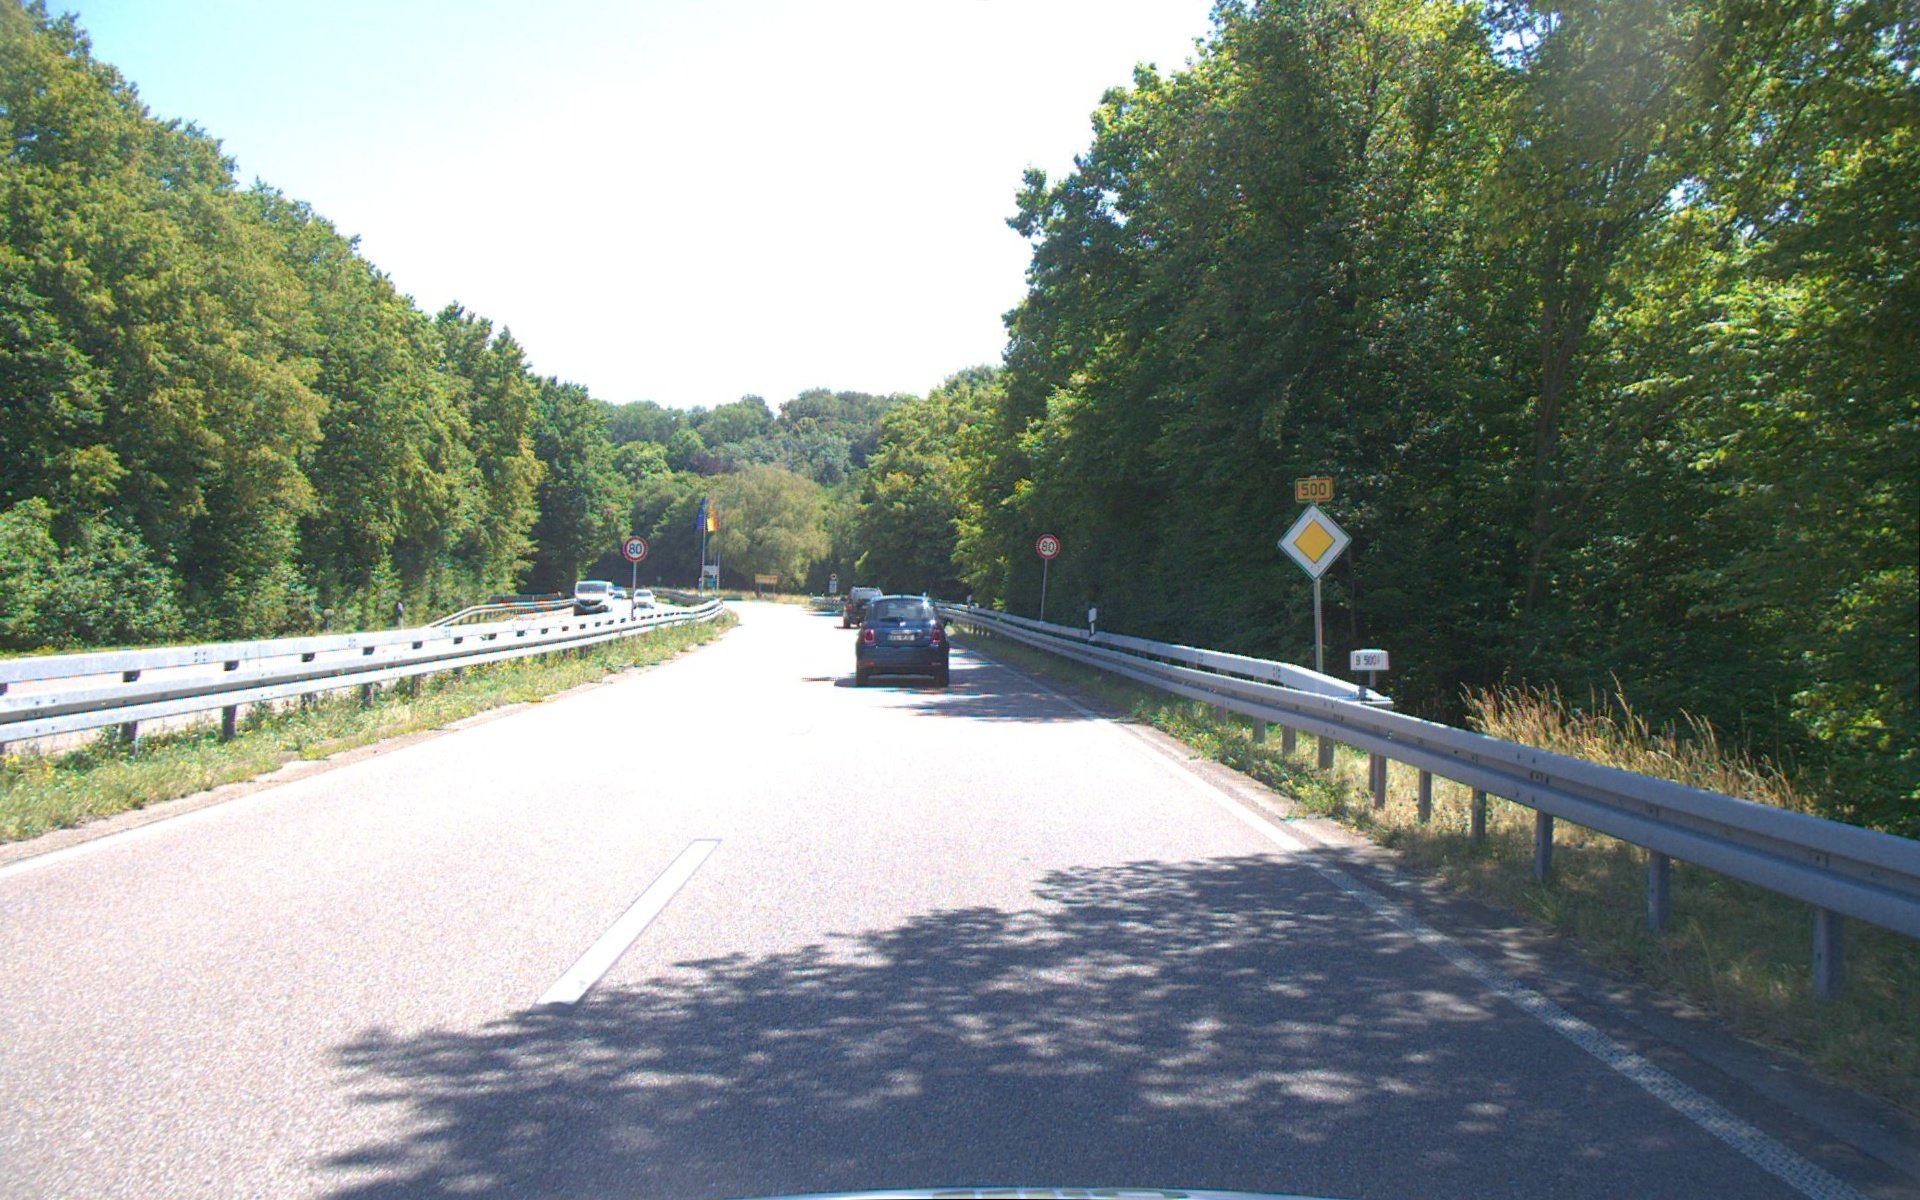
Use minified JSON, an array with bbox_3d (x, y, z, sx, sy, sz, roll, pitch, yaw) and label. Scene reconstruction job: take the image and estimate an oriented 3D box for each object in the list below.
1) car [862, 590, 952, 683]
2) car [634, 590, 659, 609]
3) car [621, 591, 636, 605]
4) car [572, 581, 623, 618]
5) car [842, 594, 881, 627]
[{"bbox_3d":[-0.945,0.584,28.925,1.483,1.527,3.588,0,0,-3],"label":"car"},{"bbox_3d":[-24.809,-0.047,130.892,1.619,1.472,4.214,0,0,-6],"label":"car"},{"bbox_3d":[-40.432,-0.240,201.930,1.621,1.634,4.210,0,0,-9],"label":"car"},{"bbox_3d":[-19.922,-0.039,91.065,1.950,1.985,5.635,0,0,-4],"label":"car"},{"bbox_3d":[-4.166,0.412,69.542,1.496,1.336,3.410,0,0,-6],"label":"car"}]
